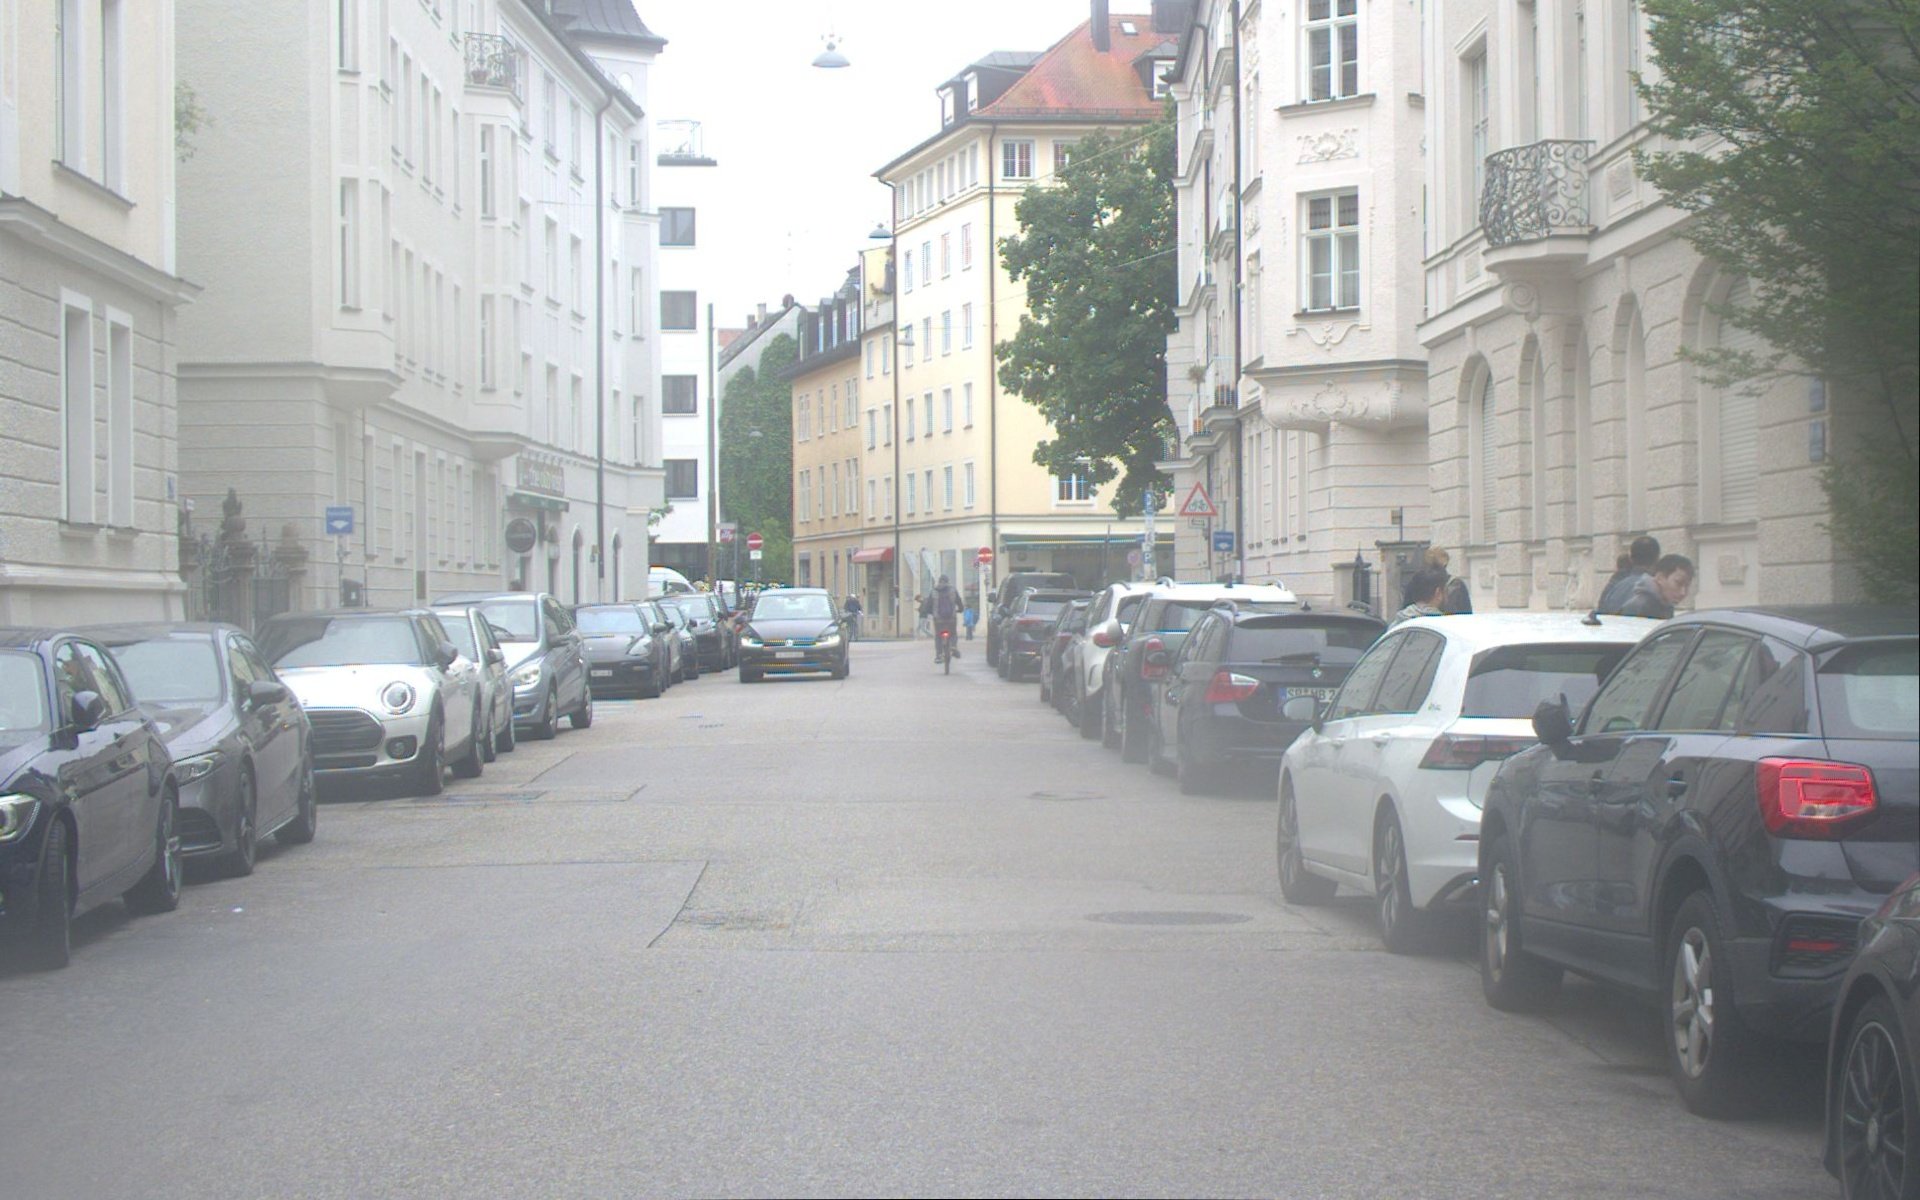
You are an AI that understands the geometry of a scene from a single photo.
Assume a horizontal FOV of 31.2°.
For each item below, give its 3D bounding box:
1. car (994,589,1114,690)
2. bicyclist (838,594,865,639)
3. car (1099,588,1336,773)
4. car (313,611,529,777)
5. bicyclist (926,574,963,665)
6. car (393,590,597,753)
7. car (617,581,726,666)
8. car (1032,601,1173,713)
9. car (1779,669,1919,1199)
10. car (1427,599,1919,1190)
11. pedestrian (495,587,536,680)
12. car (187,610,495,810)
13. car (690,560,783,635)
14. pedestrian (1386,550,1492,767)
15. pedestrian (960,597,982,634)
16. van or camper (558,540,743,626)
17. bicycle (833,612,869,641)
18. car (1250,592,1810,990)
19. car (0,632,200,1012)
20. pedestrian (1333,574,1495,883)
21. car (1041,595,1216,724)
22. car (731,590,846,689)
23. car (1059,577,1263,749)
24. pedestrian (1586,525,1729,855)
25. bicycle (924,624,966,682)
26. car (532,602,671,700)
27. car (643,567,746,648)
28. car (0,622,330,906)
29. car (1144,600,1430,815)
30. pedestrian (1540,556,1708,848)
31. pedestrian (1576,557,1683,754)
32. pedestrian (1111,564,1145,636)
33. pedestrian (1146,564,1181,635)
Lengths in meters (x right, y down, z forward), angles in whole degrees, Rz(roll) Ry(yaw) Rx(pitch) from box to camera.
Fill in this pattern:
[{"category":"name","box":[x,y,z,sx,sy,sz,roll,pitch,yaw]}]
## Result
[{"category":"car","box":[1.544,0.631,57.641,1.707,1.582,4.000,1,1,-3]},{"category":"bicyclist","box":[-3.979,0.593,125.864,0.781,1.632,0.976,0,0,-15]},{"category":"car","box":[2.247,0.671,30.928,1.748,1.519,4.170,0,1,-1]},{"category":"car","box":[-5.176,0.867,33.415,1.644,1.398,4.000,-3,1,-3]},{"category":"bicyclist","box":[-0.273,0.344,61.353,0.606,1.601,0.757,-1,1,3]},{"category":"car","box":[-5.111,0.749,38.224,1.696,1.575,4.062,-3,1,-1]},{"category":"car","box":[-5.113,0.383,61.125,1.810,1.380,4.444,-2,1,-5]},{"category":"car","box":[1.885,0.743,46.528,1.612,1.390,4.000,1,0,-2]},{"category":"car","box":[2.859,0.870,6.229,1.742,1.393,4.022,2,0,0]},{"category":"car","box":[2.873,0.809,11.277,1.791,1.493,4.083,2,1,-4]},{"category":"pedestrian","box":[-8.215,0.611,63.505,0.697,1.701,0.665,0,0,-3]},{"category":"car","box":[-4.829,0.813,27.327,1.797,1.430,4.080,-1,0,-1]},{"category":"car","box":[-5.387,-0.086,83.260,1.843,1.751,4.000,-1,1,2]},{"category":"pedestrian","box":[4.051,0.483,29.113,0.682,1.769,0.855,-3,1,0]},{"category":"pedestrian","box":[0.390,0.534,119.621,0.699,1.266,0.651,-1,0,4]},{"category":"van or camper","box":[-10.151,-0.551,112.678,5.903,2.668,1.873,-1,-2,-8]},{"category":"bicycle","box":[-4.005,0.970,125.983,0.846,0.998,2.170,0,1,-15]},{"category":"car","box":[2.448,0.755,15.733,1.662,1.502,4.065,0,1,-3]},{"category":"car","box":[-4.545,0.869,15.093,1.768,1.415,4.000,0,0,-4]},{"category":"pedestrian","box":[2.504,0.688,18.896,0.851,1.652,0.866,0,0,9]},{"category":"car","box":[2.032,0.697,42.368,1.708,1.496,4.000,0,0,-4]},{"category":"car","box":[-2.886,0.648,58.589,1.724,1.528,4.086,-3,0,-1]},{"category":"car","box":[2.072,0.617,36.602,1.895,1.630,4.391,-1,1,0]},{"category":"pedestrian","box":[3.795,0.479,18.742,0.627,1.763,0.672,0,1,-1]},{"category":"bicycle","box":[-0.267,0.934,61.282,0.639,1.001,1.574,-1,0,3]},{"category":"car","box":[-5.381,0.736,52.042,1.849,1.362,4.703,-1,1,-3]},{"category":"car","box":[-5.071,0.128,66.068,1.741,1.482,4.181,-1,0,-1]},{"category":"car","box":[-4.825,0.883,20.088,1.734,1.360,4.193,-2,1,-4]},{"category":"car","box":[2.434,0.765,26.524,1.711,1.447,4.225,0,1,-1]},{"category":"pedestrian","box":[4.085,0.614,21.186,0.882,1.763,0.672,0,1,-2]},{"category":"pedestrian","box":[5.874,0.473,30.177,0.682,1.673,0.812,-3,1,-2]},{"category":"pedestrian","box":[4.037,-0.004,82.628,0.703,1.722,0.703,-2,0,-3]},{"category":"pedestrian","box":[4.918,-0.023,83.032,0.679,1.668,0.654,-3,0,-3]}]
